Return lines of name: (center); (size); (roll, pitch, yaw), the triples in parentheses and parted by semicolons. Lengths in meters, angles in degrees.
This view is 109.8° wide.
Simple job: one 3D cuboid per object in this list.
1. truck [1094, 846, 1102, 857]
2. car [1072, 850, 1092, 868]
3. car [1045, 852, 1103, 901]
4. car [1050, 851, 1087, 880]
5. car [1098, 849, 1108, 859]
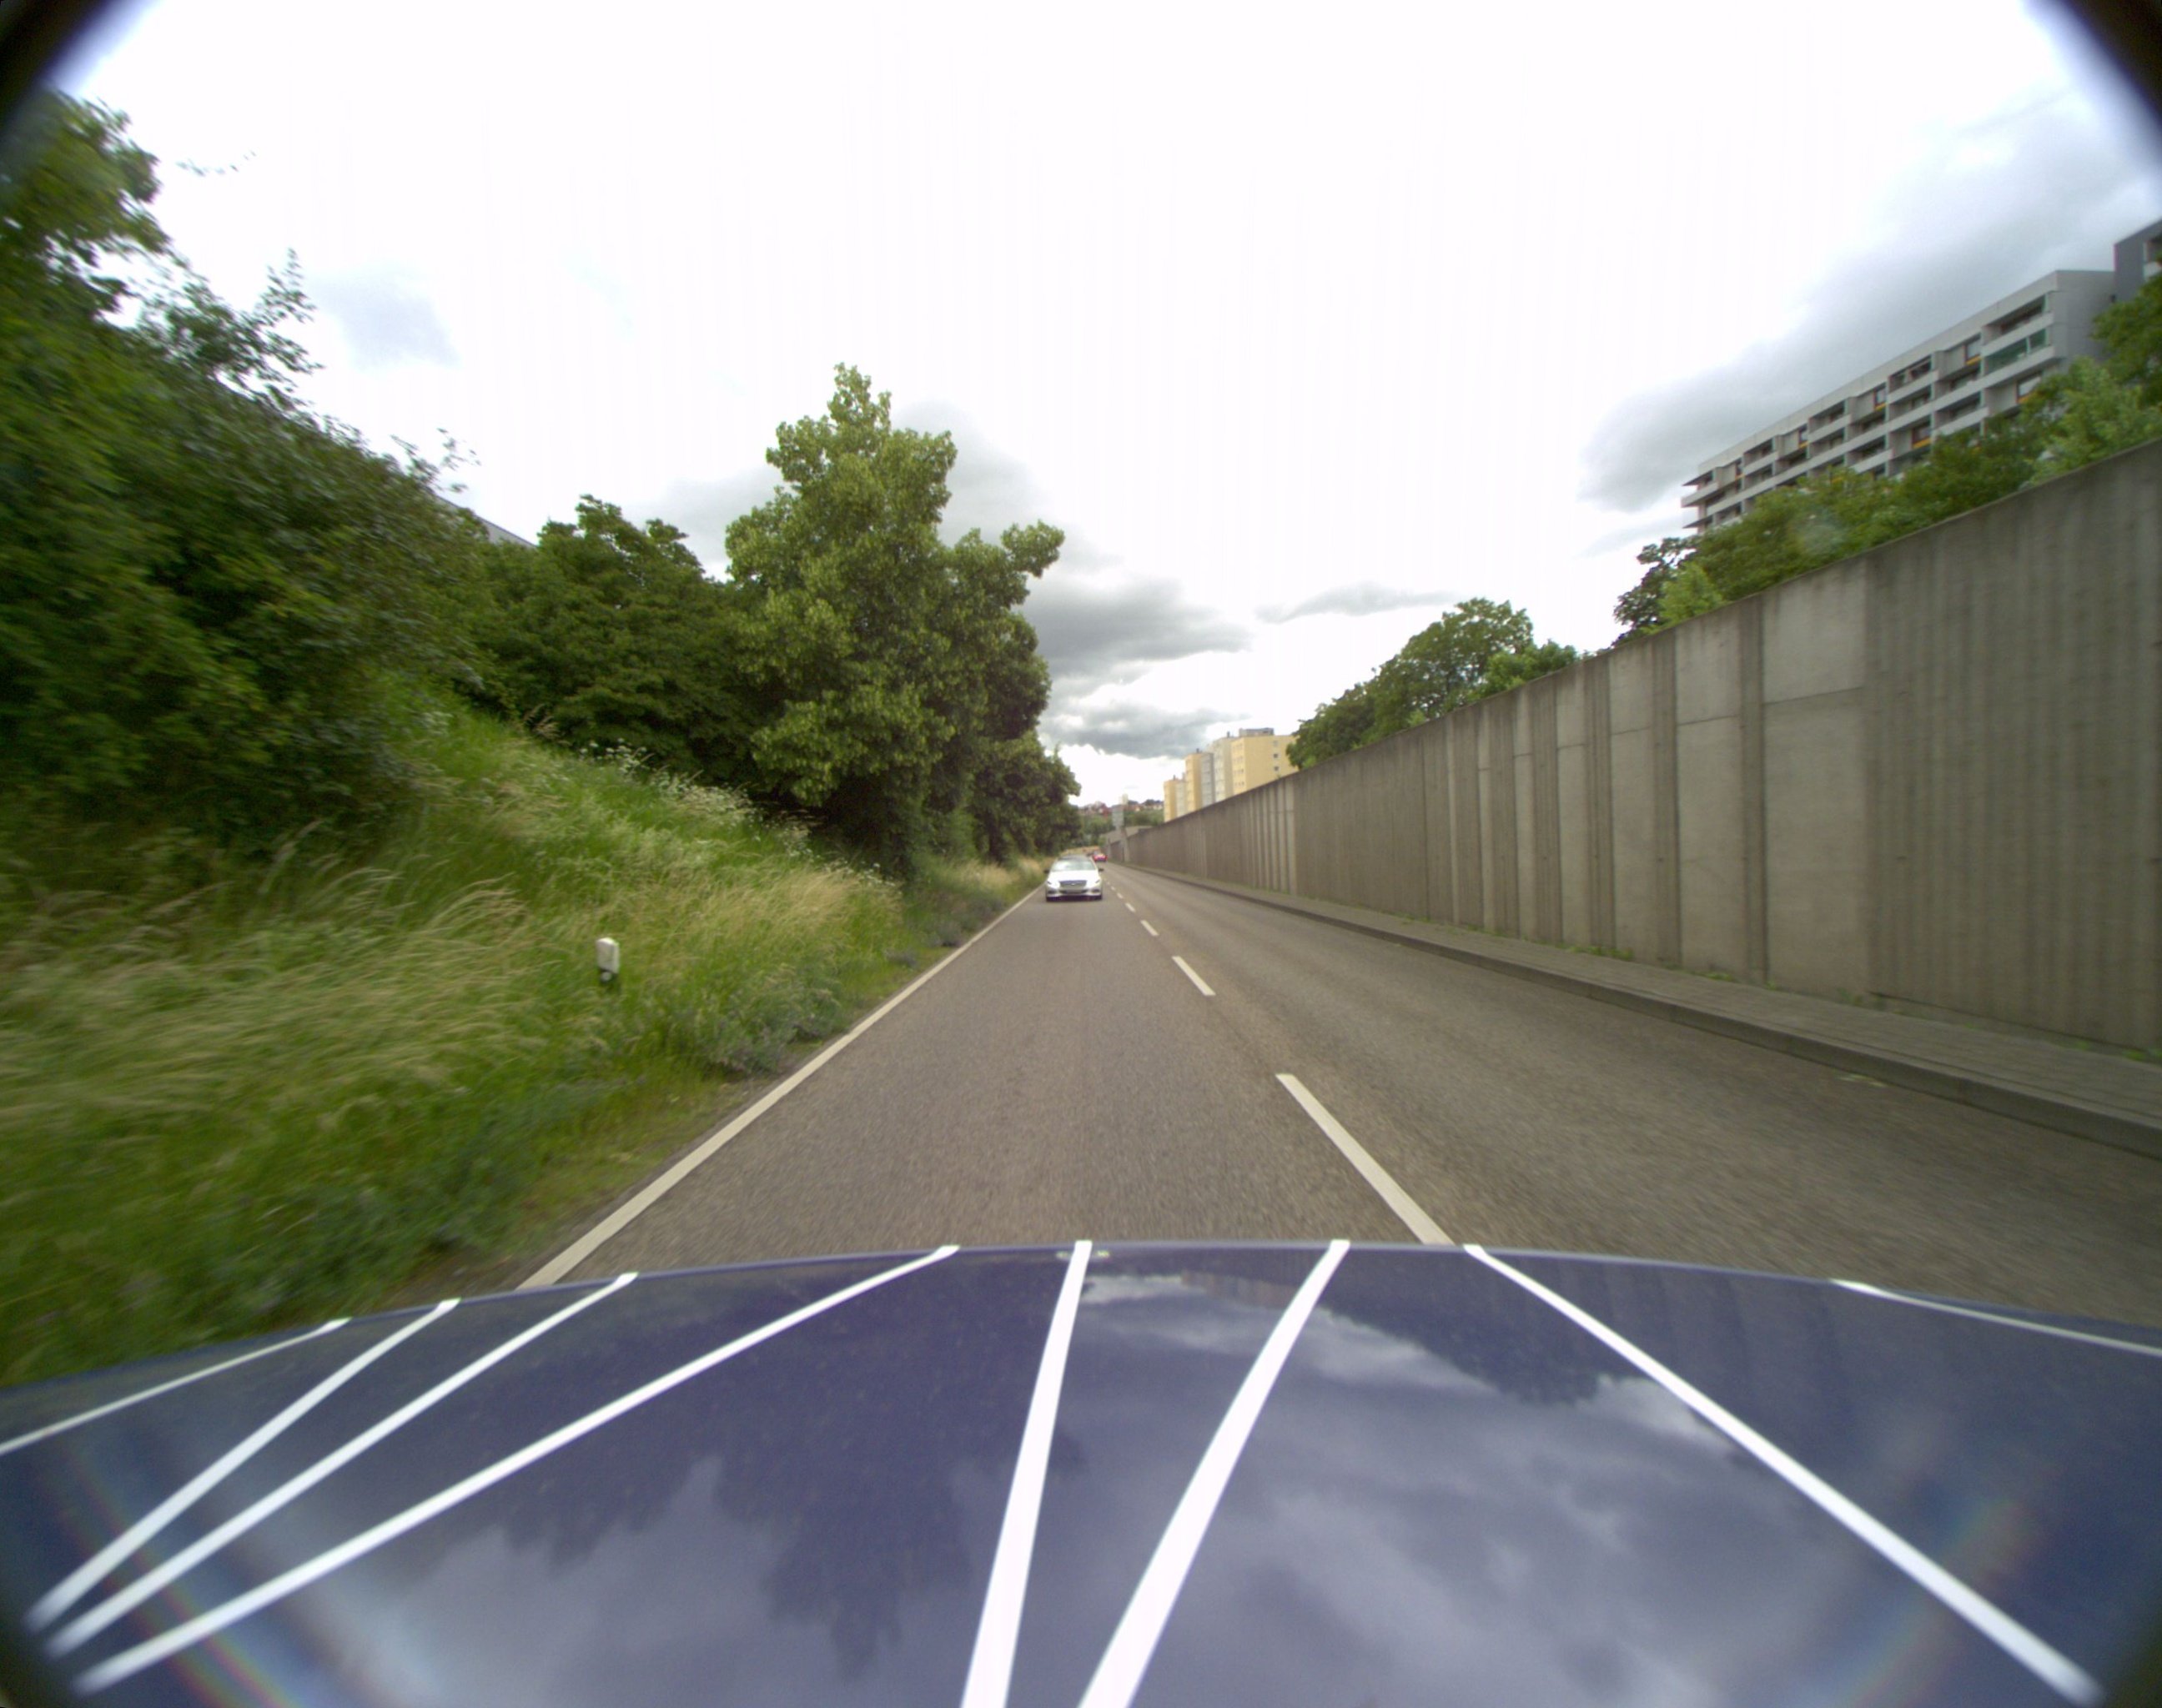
truck: (3.660, -0.640, 159.973); (1.593, 2.210, 3.999); (-2, 1, 1)
car: (0.112, 0.506, 78.413); (1.998, 1.745, 4.000); (-2, 0, 1)
car: (-0.215, 0.717, 26.570); (1.842, 1.499, 4.160); (-2, 0, 0)
car: (-0.655, 0.598, 42.113); (1.878, 1.459, 3.999); (-2, 1, 0)
car: (3.747, 0.000, 129.055); (1.639, 1.478, 3.493); (-2, 0, 0)
